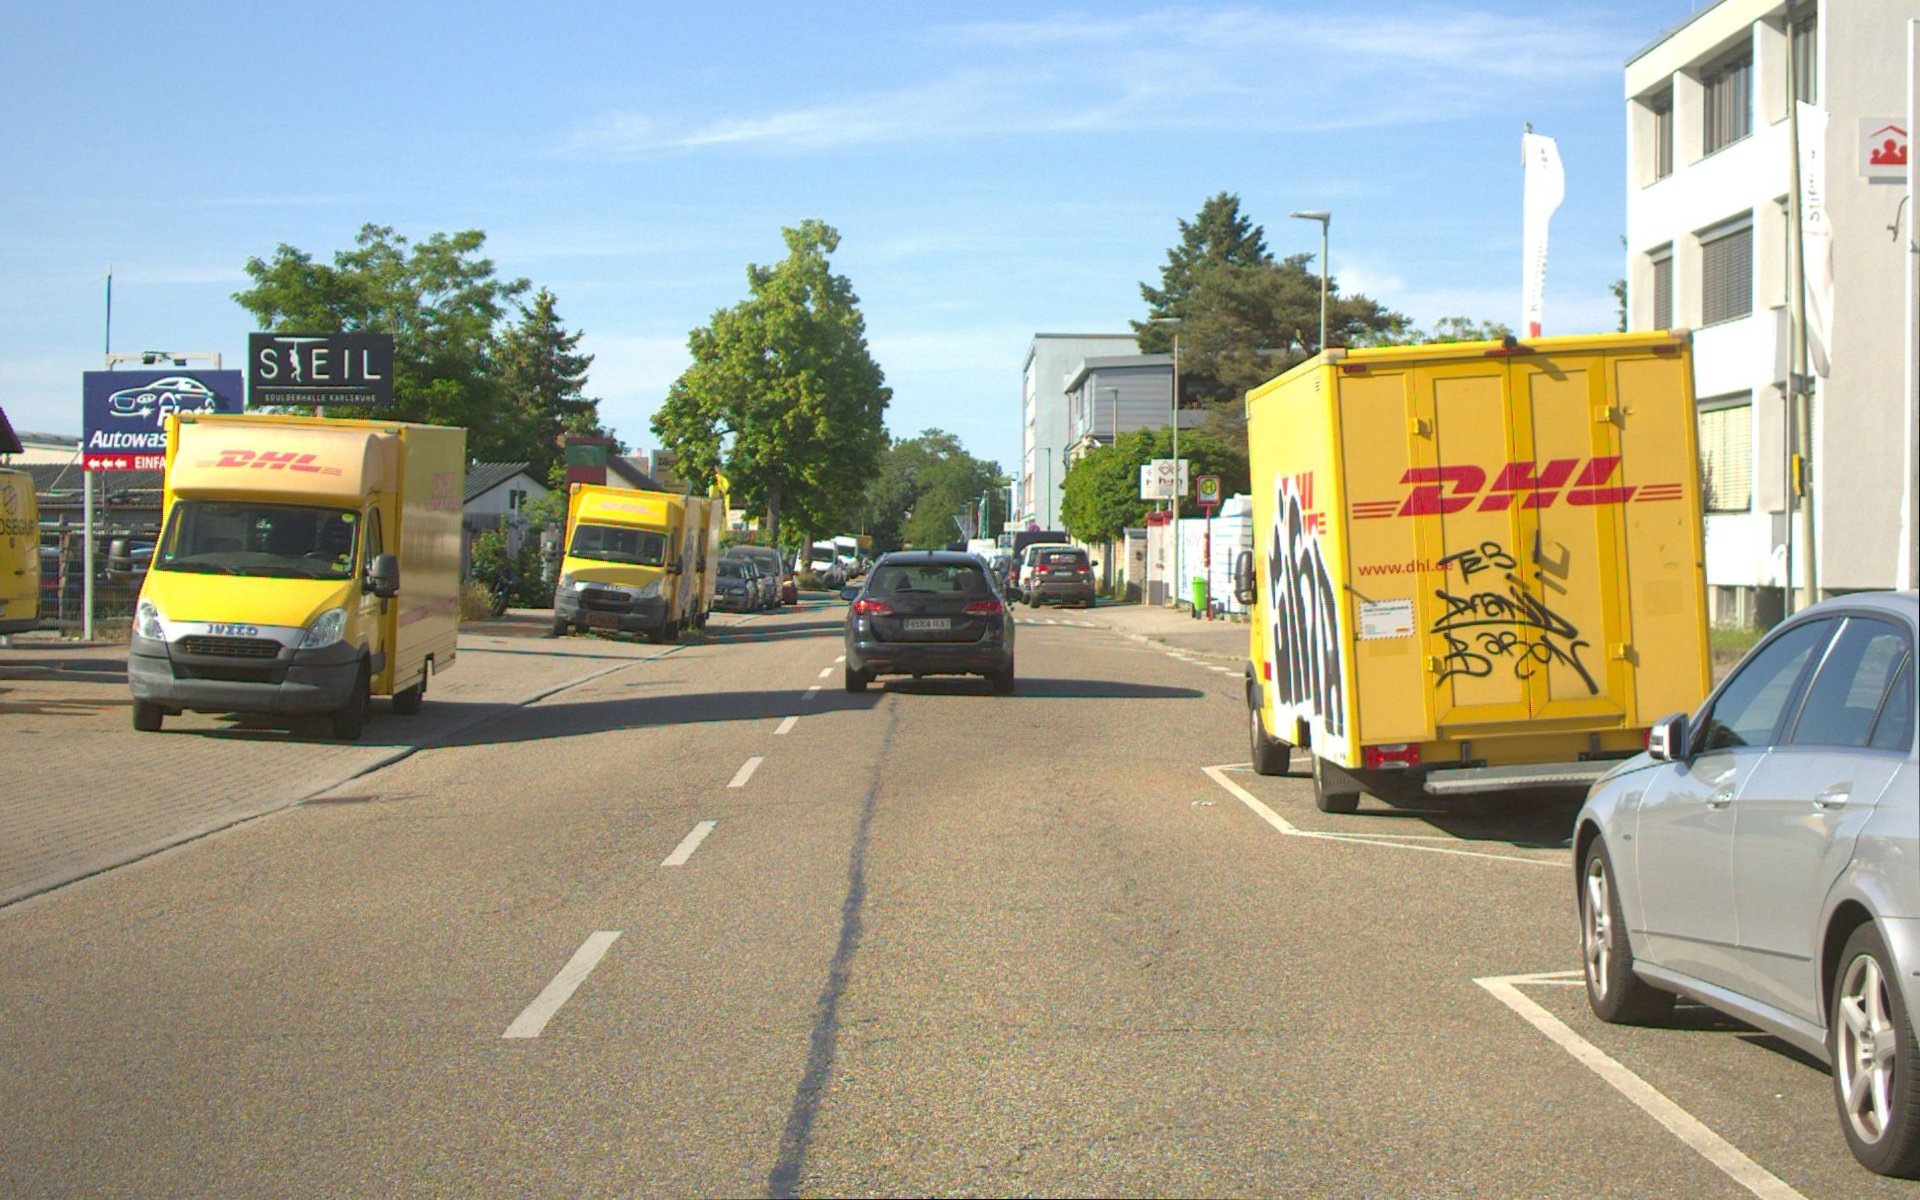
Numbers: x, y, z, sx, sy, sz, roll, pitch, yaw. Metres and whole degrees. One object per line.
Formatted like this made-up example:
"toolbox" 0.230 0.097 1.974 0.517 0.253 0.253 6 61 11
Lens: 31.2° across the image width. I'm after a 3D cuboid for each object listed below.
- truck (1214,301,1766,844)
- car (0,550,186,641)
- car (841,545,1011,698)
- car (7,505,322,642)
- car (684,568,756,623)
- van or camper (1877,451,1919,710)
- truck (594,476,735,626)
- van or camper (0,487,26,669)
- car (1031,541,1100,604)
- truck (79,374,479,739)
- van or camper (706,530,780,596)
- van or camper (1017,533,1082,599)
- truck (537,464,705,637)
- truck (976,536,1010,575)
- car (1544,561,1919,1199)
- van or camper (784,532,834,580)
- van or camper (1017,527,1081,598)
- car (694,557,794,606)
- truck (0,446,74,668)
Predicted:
"truck" 3.187 -0.190 22.486 2.402 2.926 7.016 -2 1 0
"car" -16.061 -0.112 63.806 1.695 1.573 4.042 1 2 13
"car" -0.318 0.187 36.646 1.712 1.527 3.687 0 1 1
"car" -12.012 -0.419 52.039 4.249 2.007 1.868 0 1 8
"car" -6.441 -0.146 92.732 1.756 1.398 4.558 0 1 -2
"van or camper" 12.246 -0.182 34.331 5.812 2.532 2.290 0 1 -24
"truck" -6.092 -1.026 71.634 2.193 2.892 6.439 3 1 1
"van or camper" -12.887 -0.252 37.811 4.544 2.007 2.250 0 1 6
"car" 3.127 -0.846 102.645 1.919 1.819 4.080 1 1 0
"truck" -6.222 -0.411 32.466 2.402 2.973 7.246 2 1 -1
"van or camper" -6.447 -1.100 102.473 1.891 1.919 4.266 0 0 1
"van or camper" 2.782 -1.074 107.945 1.919 2.012 4.080 1 1 0
"truck" -6.239 -0.925 64.096 2.402 2.973 6.374 2 1 0
"truck" 1.969 -2.681 207.579 1.993 2.280 6.956 1 1 0
"car" 3.070 0.684 9.711 1.783 1.537 4.538 1 1 -4
"van or camper" -7.631 -2.238 173.449 2.323 2.354 6.529 1 1 -4
"van or camper" 2.921 -1.247 113.452 1.993 2.302 4.000 1 1 0
"car" -6.918 -0.609 109.692 1.875 1.480 4.045 -2 2 -24
"truck" -13.792 -0.607 40.755 5.924 2.559 2.223 2 1 11
